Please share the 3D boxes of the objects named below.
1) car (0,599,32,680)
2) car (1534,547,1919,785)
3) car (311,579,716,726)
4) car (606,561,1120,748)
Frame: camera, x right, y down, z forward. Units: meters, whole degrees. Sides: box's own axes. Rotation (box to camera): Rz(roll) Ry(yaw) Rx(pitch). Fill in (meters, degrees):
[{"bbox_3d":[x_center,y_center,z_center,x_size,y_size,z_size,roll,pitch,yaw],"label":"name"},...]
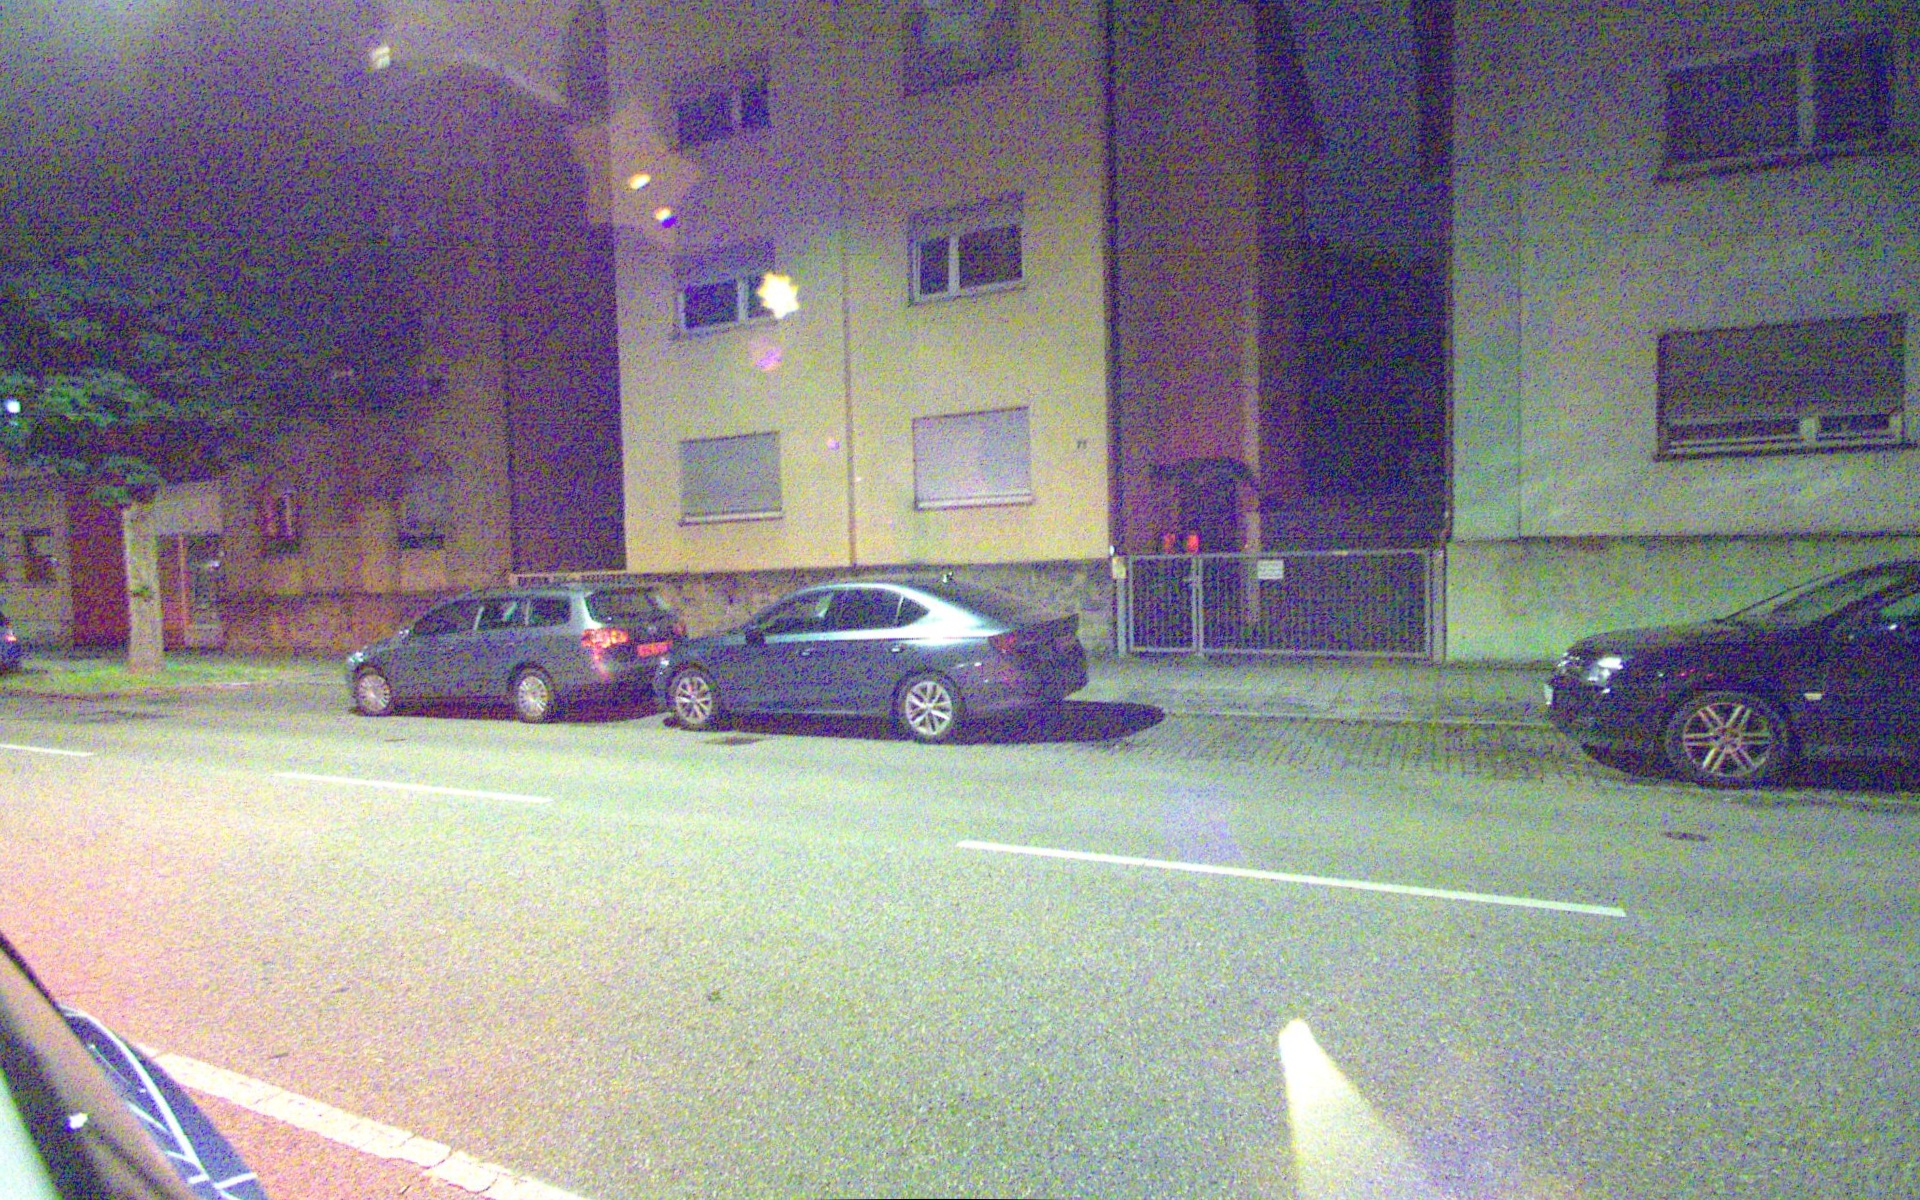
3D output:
[{"bbox_3d":[-20.043,0.806,19.579,3.968,1.505,1.705,-1,2,26],"label":"car"},{"bbox_3d":[6.316,0.360,6.461,4.424,1.393,1.615,-1,1,24],"label":"car"},{"bbox_3d":[-5.403,0.558,12.157,4.739,1.497,1.759,-1,1,25],"label":"car"},{"bbox_3d":[-1.022,0.451,9.988,4.837,1.497,1.759,-1,1,26],"label":"car"}]
